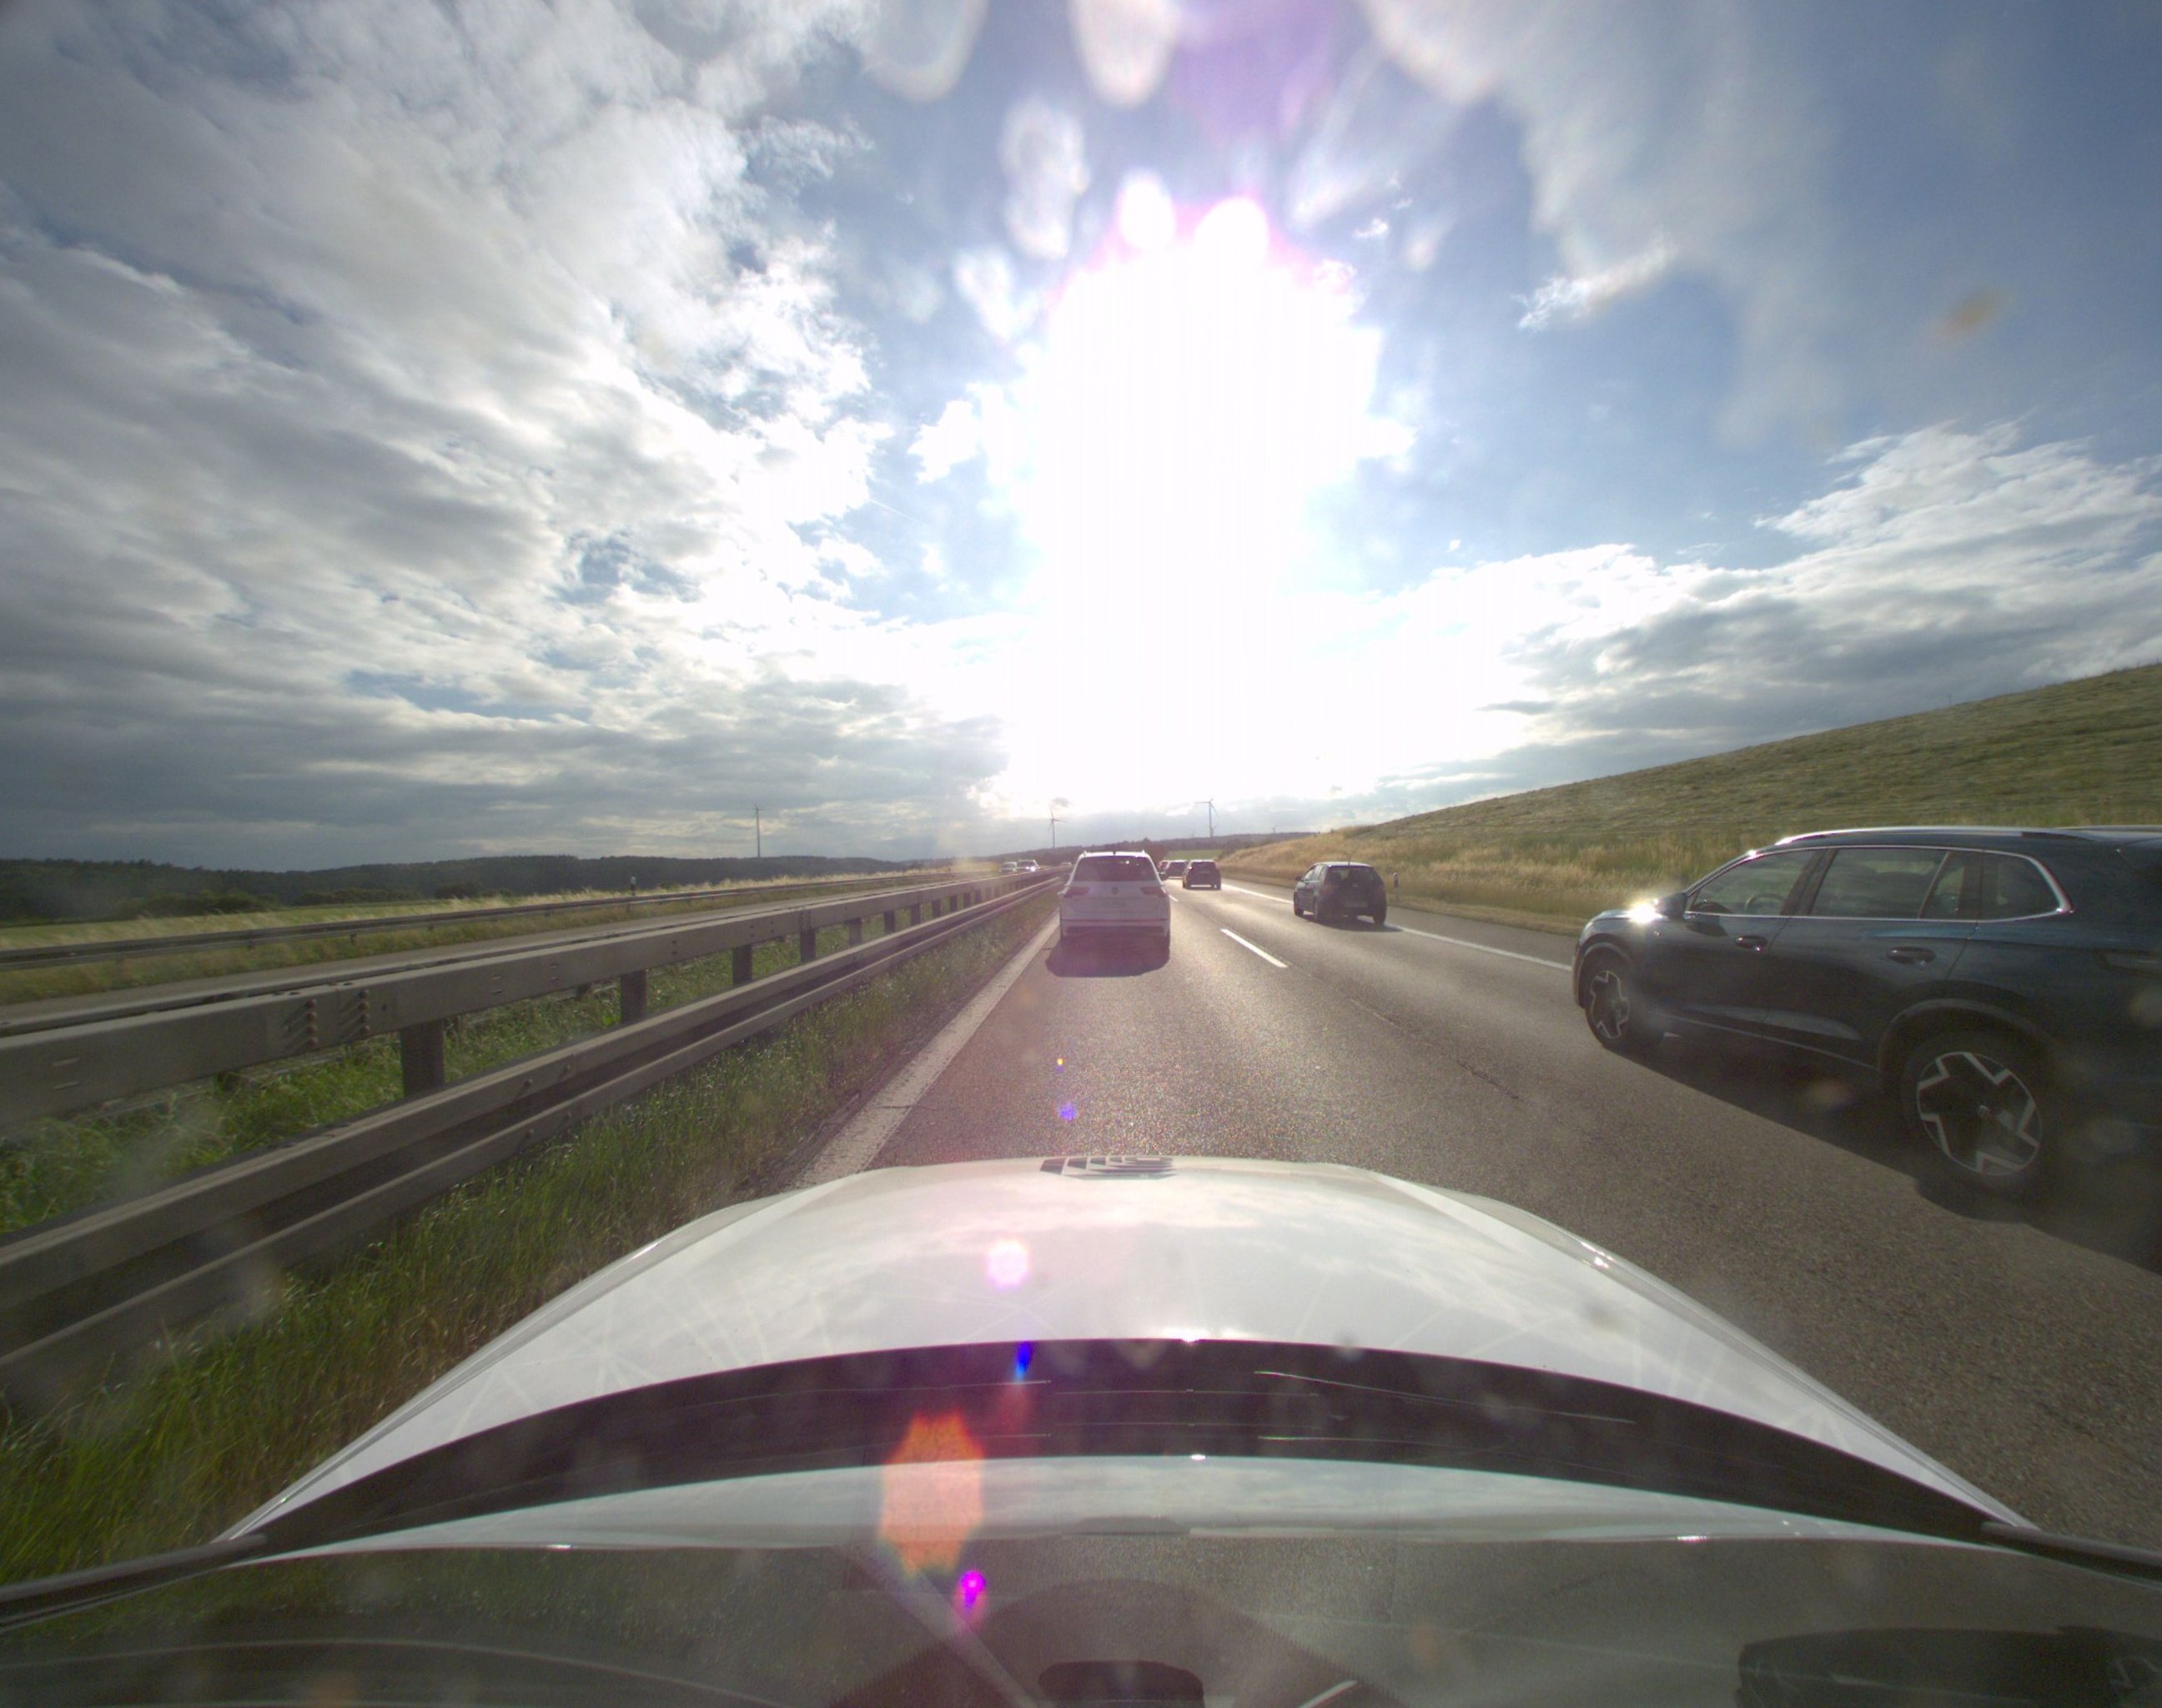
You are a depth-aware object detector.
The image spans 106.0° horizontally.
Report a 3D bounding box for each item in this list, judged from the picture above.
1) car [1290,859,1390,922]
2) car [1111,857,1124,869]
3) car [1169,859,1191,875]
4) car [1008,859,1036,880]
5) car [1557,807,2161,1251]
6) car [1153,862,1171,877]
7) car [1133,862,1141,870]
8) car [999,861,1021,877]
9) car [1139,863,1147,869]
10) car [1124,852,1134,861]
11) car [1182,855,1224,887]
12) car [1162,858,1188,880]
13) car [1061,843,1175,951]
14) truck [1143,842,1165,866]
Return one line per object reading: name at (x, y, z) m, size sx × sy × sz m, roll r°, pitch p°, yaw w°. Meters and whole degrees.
car at (6.402, 0.862, 20.511) m, size 1.598 × 1.420 × 3.677 m, roll -1°, pitch -1°, yaw 5°
car at (5.028, 1.220, 111.682) m, size 1.697 × 1.650 × 4.002 m, roll -1°, pitch -1°, yaw 2°
car at (9.463, 1.231, 78.023) m, size 1.697 × 1.546 × 4.002 m, roll -1°, pitch -1°, yaw 2°
car at (-4.933, 1.292, 68.619) m, size 1.816 × 1.770 × 4.365 m, roll -1°, pitch -1°, yaw 2°
car at (4.900, 0.669, 4.849) m, size 1.814 × 1.601 × 4.237 m, roll 1°, pitch -1°, yaw 2°
car at (8.750, 1.693, 88.413) m, size 1.697 × 1.546 × 4.002 m, roll -1°, pitch -1°, yaw 2°
car at (12.488, 2.681, 181.593) m, size 1.696 × 1.546 × 4.005 m, roll -1°, pitch -1°, yaw 4°
car at (-7.184, 1.523, 82.711) m, size 1.728 × 1.588 × 4.118 m, roll -1°, pitch -1°, yaw 2°
car at (15.281, 2.918, 200.955) m, size 1.696 × 1.546 × 4.004 m, roll -1°, pitch -1°, yaw 4°
car at (8.369, 0.445, 141.763) m, size 1.697 × 1.546 × 4.002 m, roll -1°, pitch -1°, yaw 2°
car at (6.278, 0.879, 42.140) m, size 1.697 × 1.546 × 4.002 m, roll -1°, pitch -1°, yaw 2°
car at (7.327, 1.183, 63.962) m, size 1.697 × 1.650 × 4.002 m, roll -1°, pitch -1°, yaw 2°
car at (0.653, 0.703, 14.772) m, size 1.763 × 1.676 × 4.002 m, roll -1°, pitch -1°, yaw 2°
truck at (11.620, 0.025, 130.597) m, size 3.170 × 3.594 × 11.142 m, roll -1°, pitch 0°, yaw 4°
